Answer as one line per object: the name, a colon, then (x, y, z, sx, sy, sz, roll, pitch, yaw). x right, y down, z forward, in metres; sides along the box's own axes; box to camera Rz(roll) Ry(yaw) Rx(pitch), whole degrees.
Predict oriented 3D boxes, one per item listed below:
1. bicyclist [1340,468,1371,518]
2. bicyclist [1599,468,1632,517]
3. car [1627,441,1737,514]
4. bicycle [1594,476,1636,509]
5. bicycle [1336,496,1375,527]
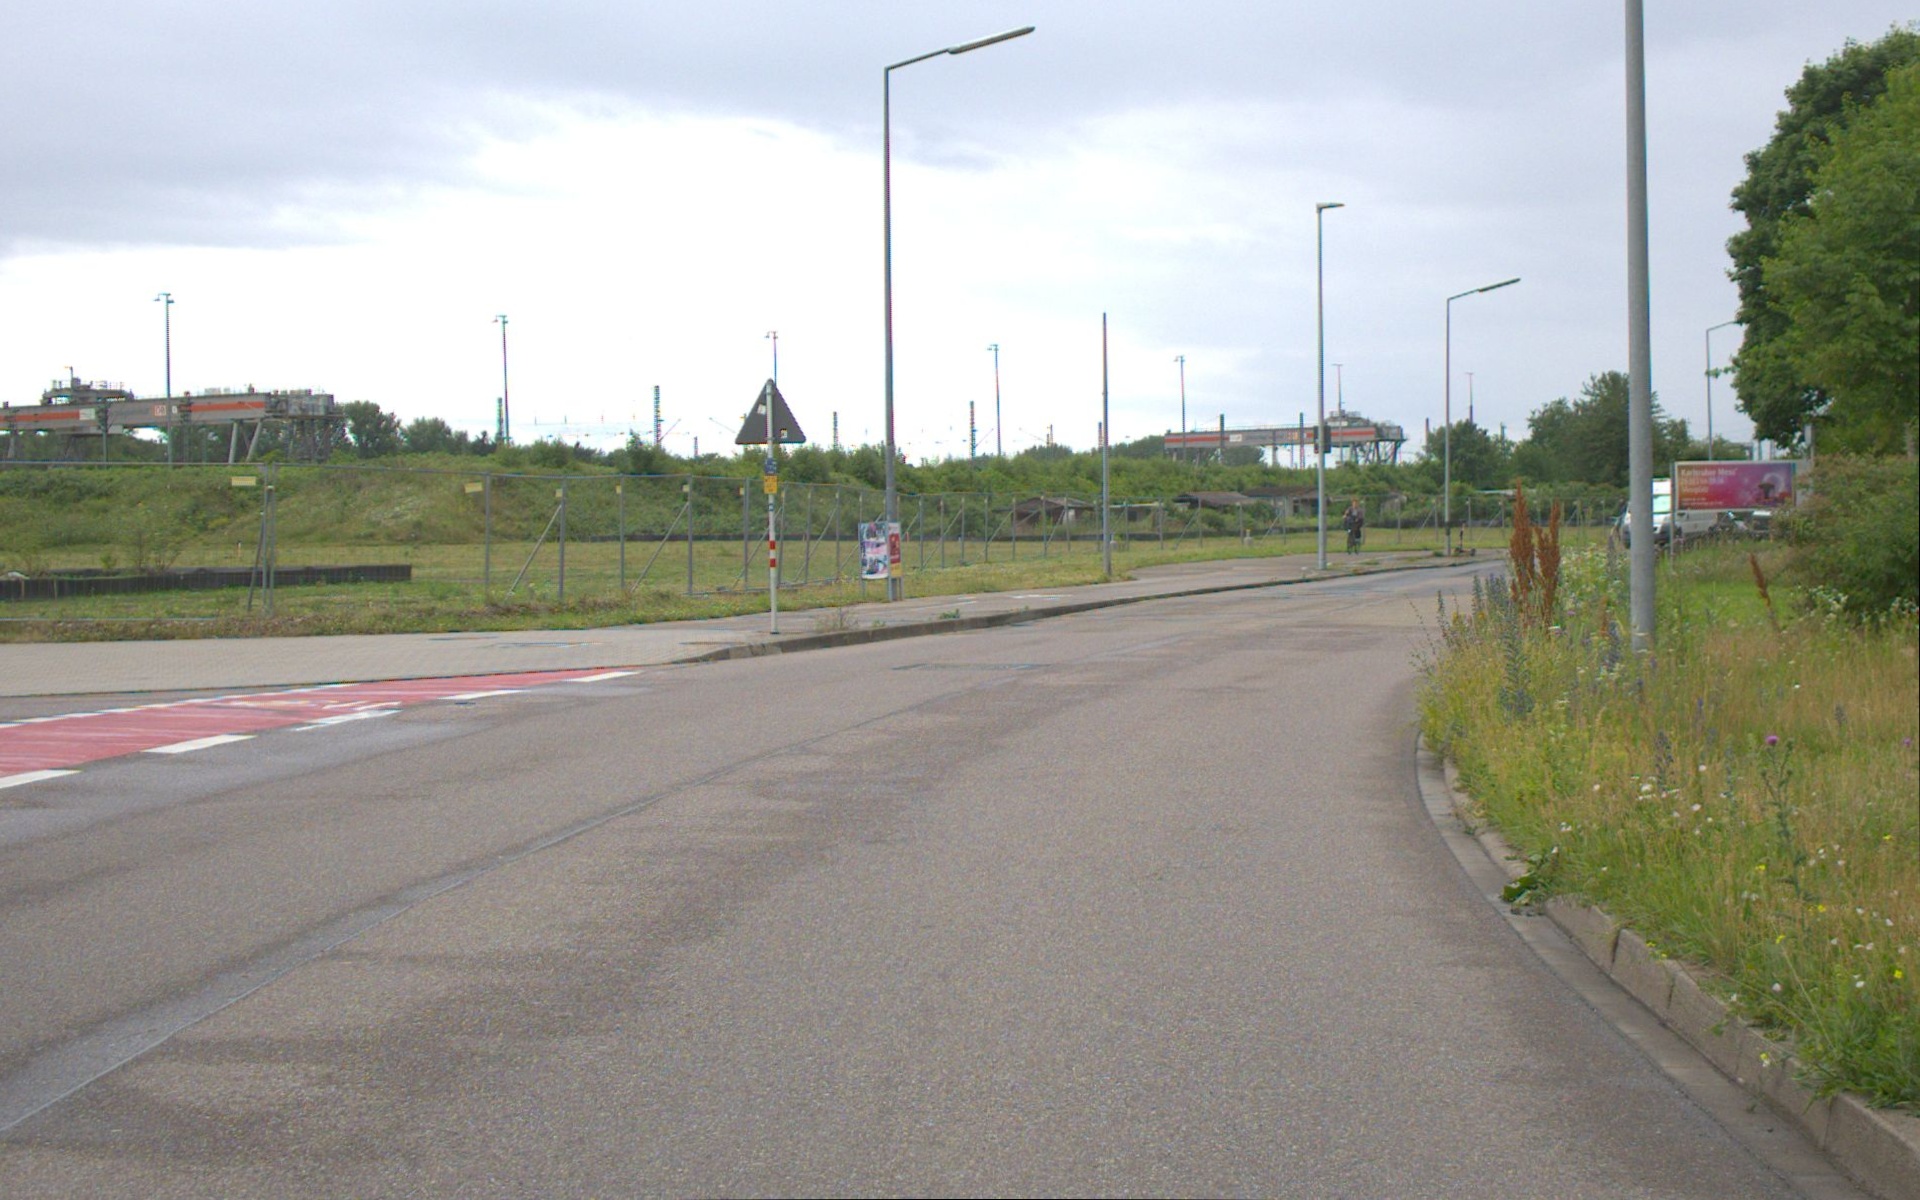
bicyclist: (12.295, -3.320, 106.900, 0.782, 1.521, 1.093, 0, 2, 16)
bicyclist: (24.901, -4.085, 130.655, 0.829, 1.815, 1.328, 0, 3, 30)
car: (26.639, -4.537, 126.705, 2.292, 2.546, 6.401, 0, 2, 27)
bicycle: (24.913, -4.104, 130.701, 0.820, 1.200, 2.553, 0, 3, 29)
bicycle: (12.294, -2.748, 106.901, 0.804, 0.904, 2.231, 0, 3, 17)
